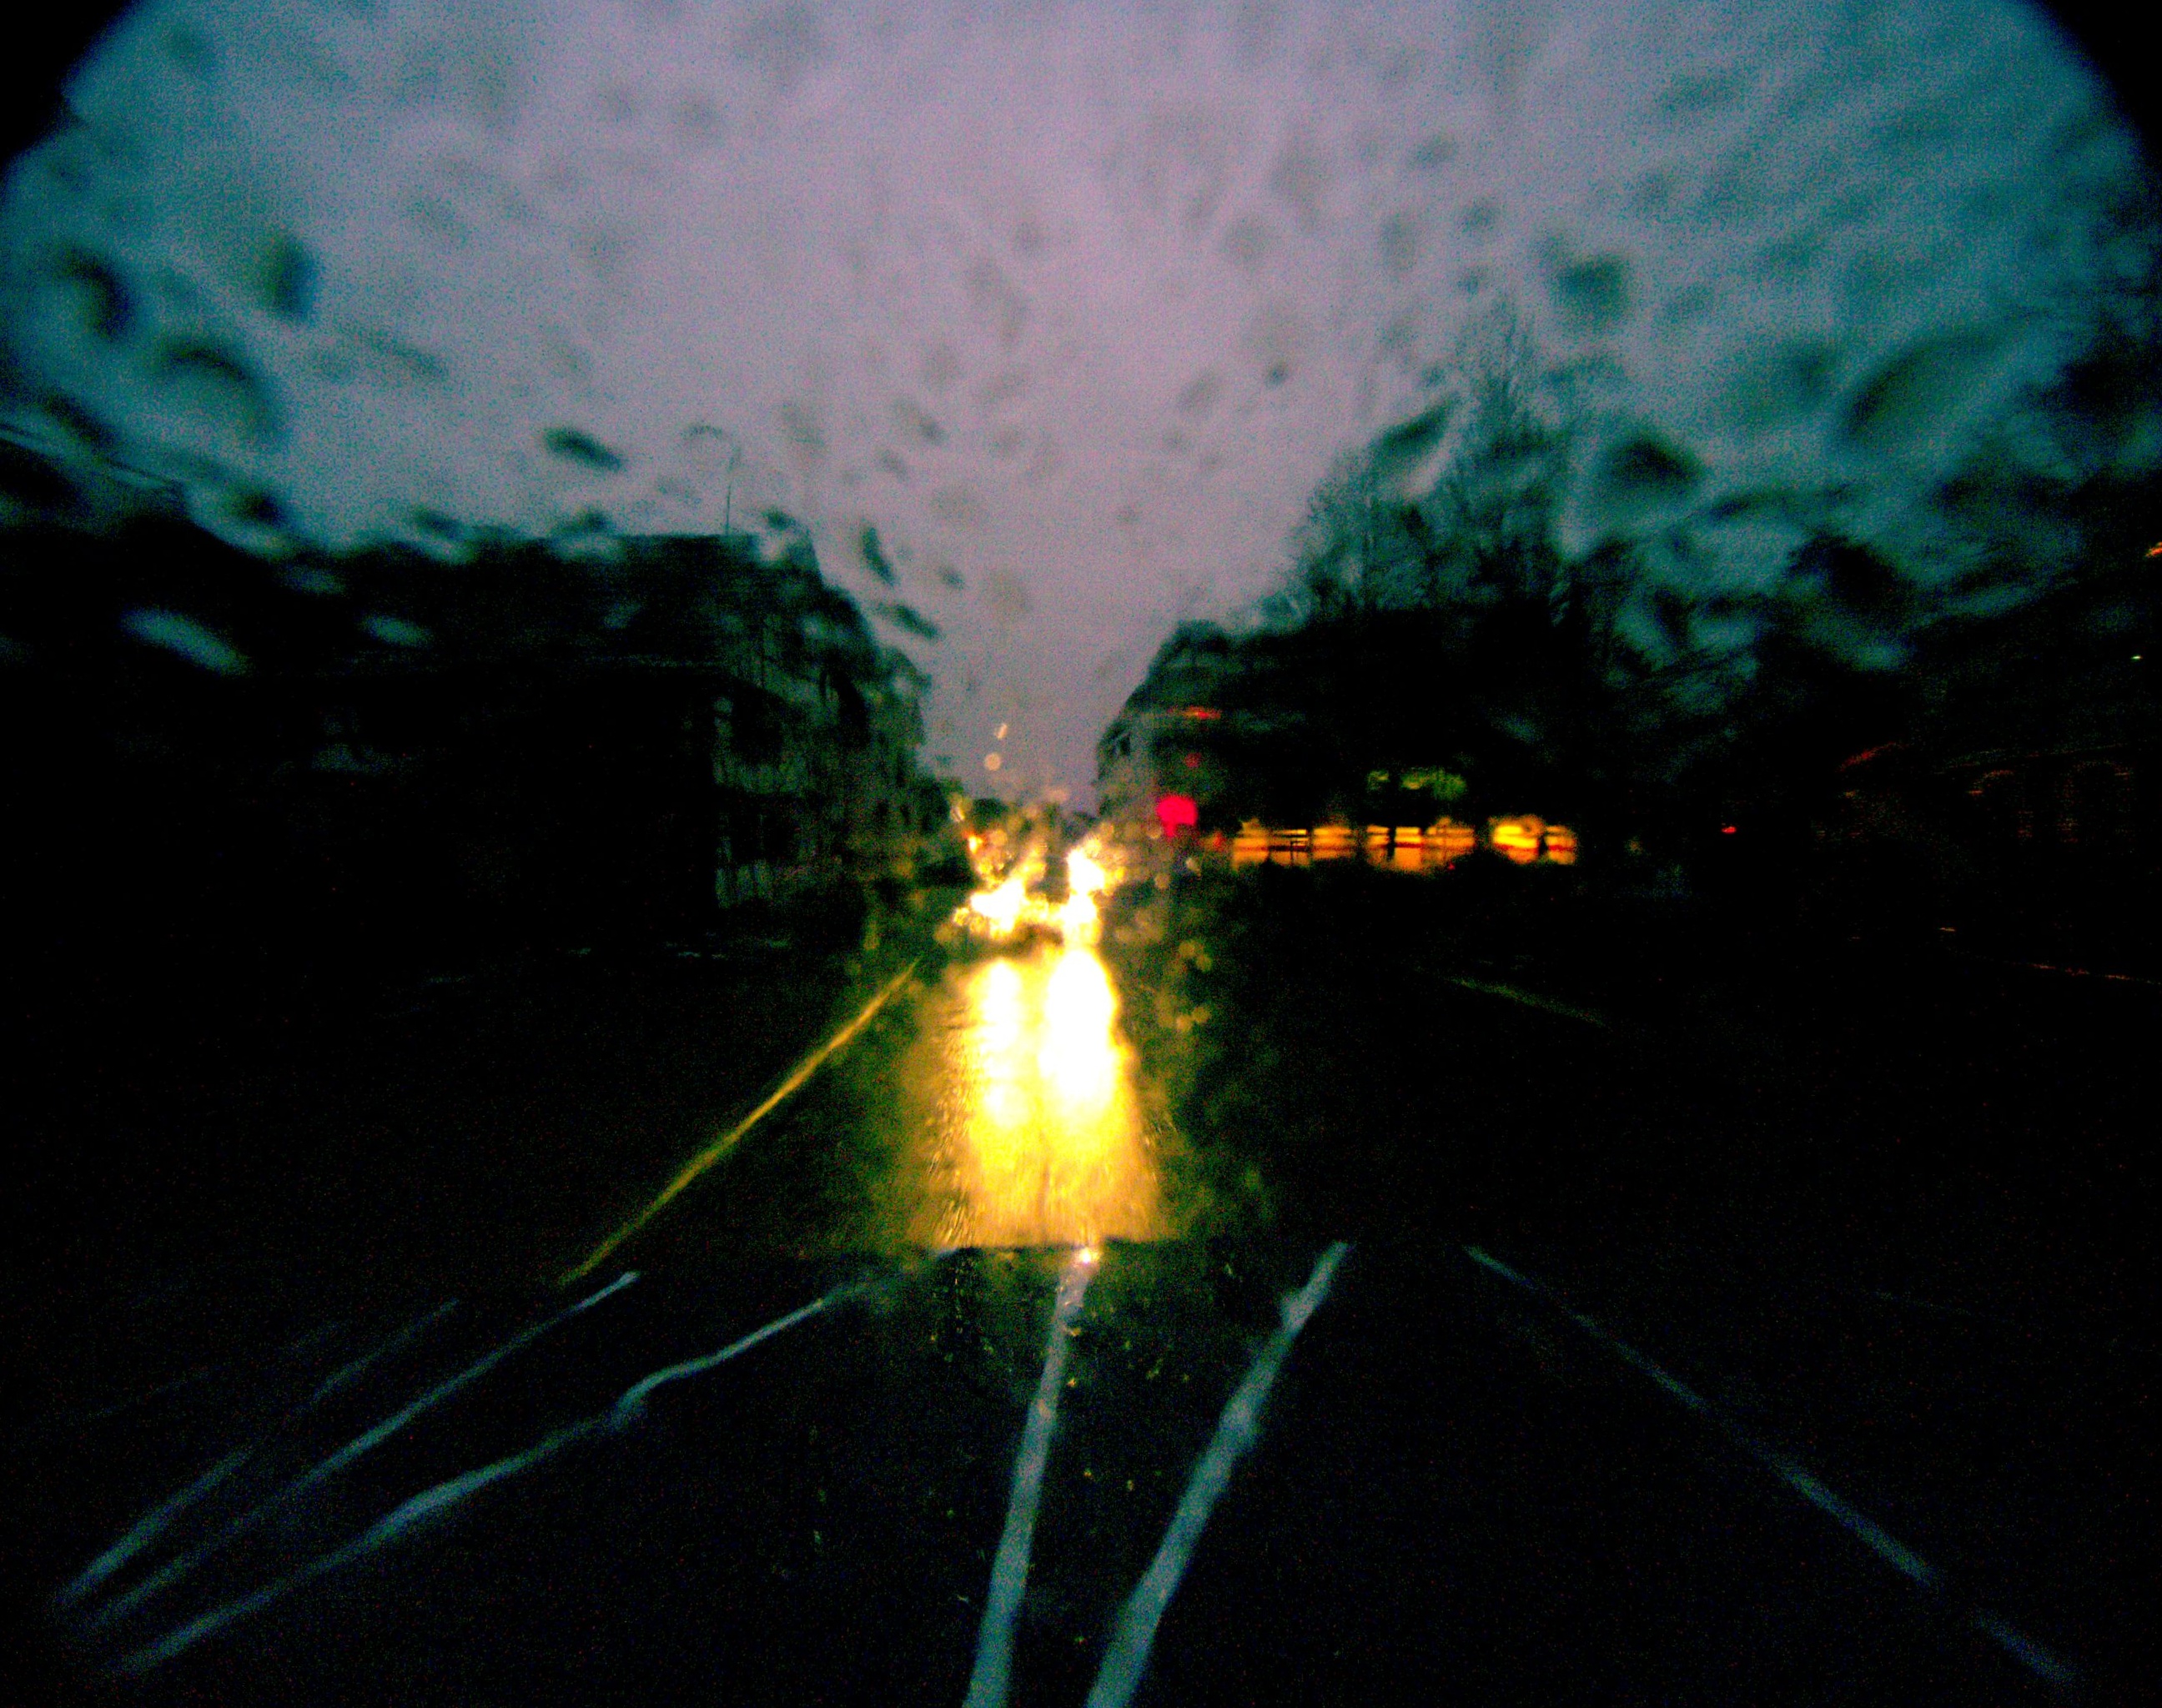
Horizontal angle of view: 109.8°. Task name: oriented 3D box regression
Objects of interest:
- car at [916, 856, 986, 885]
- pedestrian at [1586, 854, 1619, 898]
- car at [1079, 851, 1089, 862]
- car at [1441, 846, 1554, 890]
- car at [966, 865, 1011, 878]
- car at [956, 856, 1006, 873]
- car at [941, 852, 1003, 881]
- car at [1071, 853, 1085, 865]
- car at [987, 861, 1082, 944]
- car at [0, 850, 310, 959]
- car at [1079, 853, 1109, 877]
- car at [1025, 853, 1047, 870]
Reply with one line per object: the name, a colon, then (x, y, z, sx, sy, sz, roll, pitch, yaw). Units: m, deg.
car: (-7.421, 0.943, 43.584, 3.854, 1.618, 1.610, 1, 0, -9)
pedestrian: (15.968, 0.663, 23.276, 0.620, 1.331, 0.568, -1, 0, 9)
car: (0.533, 0.412, 138.827, 1.837, 2.002, 3.700, -2, 0, 0)
car: (15.314, 0.509, 28.057, 3.306, 1.499, 1.503, -2, 0, 9)
car: (-8.209, 1.595, 67.811, 3.889, 1.121, 1.550, 0, 0, -4)
car: (-8.083, 0.848, 61.553, 3.889, 1.359, 1.550, 0, 0, -4)
car: (-7.068, 0.791, 49.120, 3.891, 1.866, 1.868, 0, 0, -9)
car: (-0.451, 0.779, 115.843, 1.836, 1.703, 3.701, -2, 0, 4)
car: (-0.879, 0.929, 16.063, 1.731, 1.475, 3.603, -2, 0, 0)
car: (-15.410, 0.789, 12.692, 3.424, 1.535, 1.617, 2, 4, 2)
car: (0.898, 0.770, 54.935, 1.900, 1.607, 3.825, -2, 0, -3)
car: (-4.426, 0.746, 74.744, 1.924, 1.608, 3.866, -2, 0, -6)
